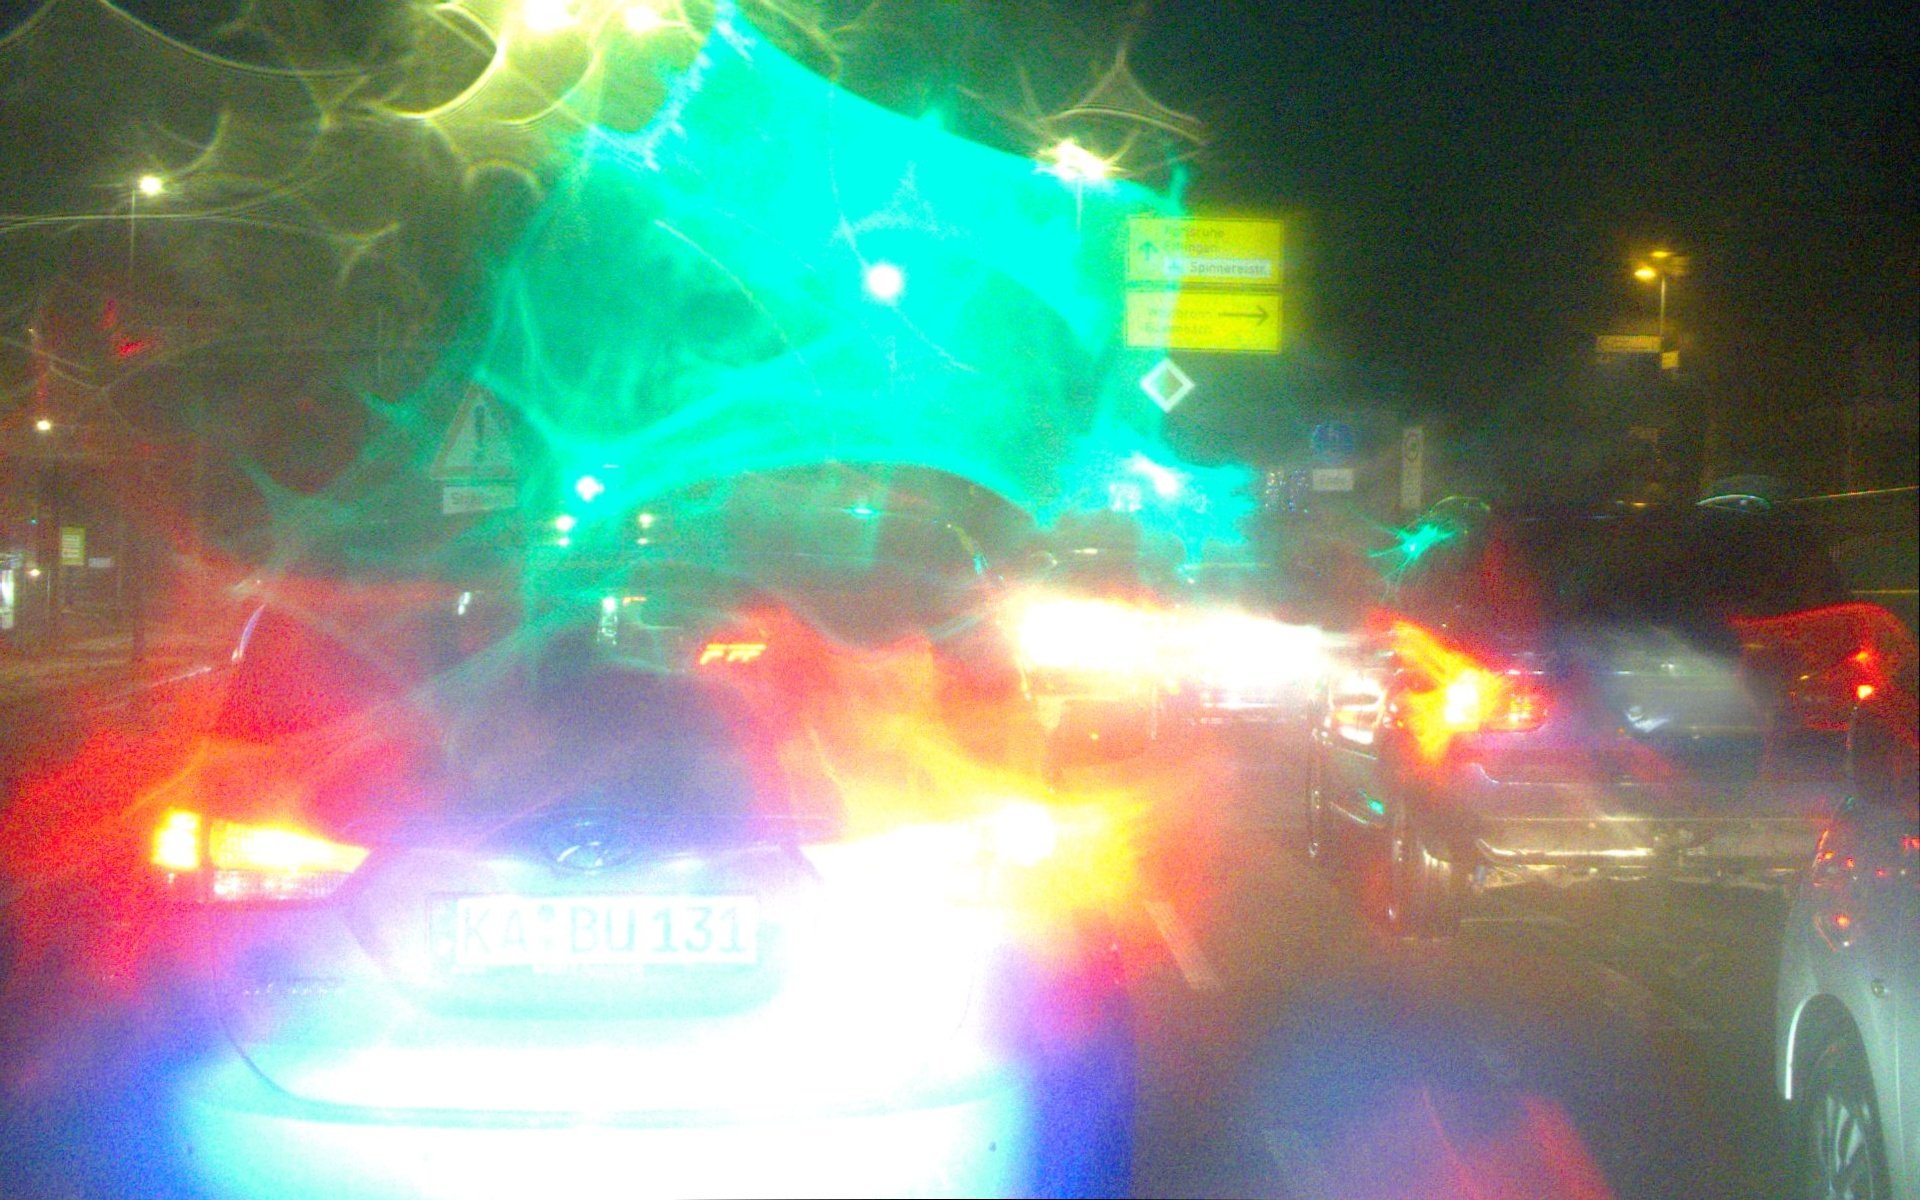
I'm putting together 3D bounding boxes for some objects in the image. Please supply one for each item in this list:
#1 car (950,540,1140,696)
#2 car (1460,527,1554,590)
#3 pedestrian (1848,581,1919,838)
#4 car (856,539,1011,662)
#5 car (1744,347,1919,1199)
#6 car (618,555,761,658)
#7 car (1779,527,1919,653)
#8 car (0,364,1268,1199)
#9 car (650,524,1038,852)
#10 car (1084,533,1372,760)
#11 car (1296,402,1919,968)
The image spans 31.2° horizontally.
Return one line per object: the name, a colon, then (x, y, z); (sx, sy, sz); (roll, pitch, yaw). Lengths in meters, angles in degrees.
car: (0.916, 0.178, 39.267); (1.993, 1.664, 4.000); (1, 0, -1)
car: (14.881, -1.129, 93.747); (1.865, 1.641, 3.963); (-2, 1, 0)
pedestrian: (6.362, 0.727, 23.076); (0.622, 1.696, 0.541); (1, 0, -3)
car: (-0.447, -0.013, 52.398); (1.993, 1.767, 4.001); (1, 0, -6)
car: (2.511, 0.535, 4.627); (1.851, 1.858, 4.341); (1, 0, -1)
car: (-5.041, 0.095, 63.595); (1.993, 1.818, 4.001); (1, 0, -14)
car: (12.042, -0.101, 40.458); (4.334, 1.455, 1.849); (1, 0, 28)
car: (-0.579, 0.493, 7.426); (2.014, 1.711, 4.452); (1, 0, -1)
car: (-0.628, 0.441, 19.894); (1.993, 1.678, 4.000); (1, 0, -1)
car: (2.125, 0.339, 28.355); (1.993, 1.712, 4.000); (1, 0, -1)
car: (2.636, 0.295, 14.541); (1.968, 2.040, 4.000); (1, 0, -1)
